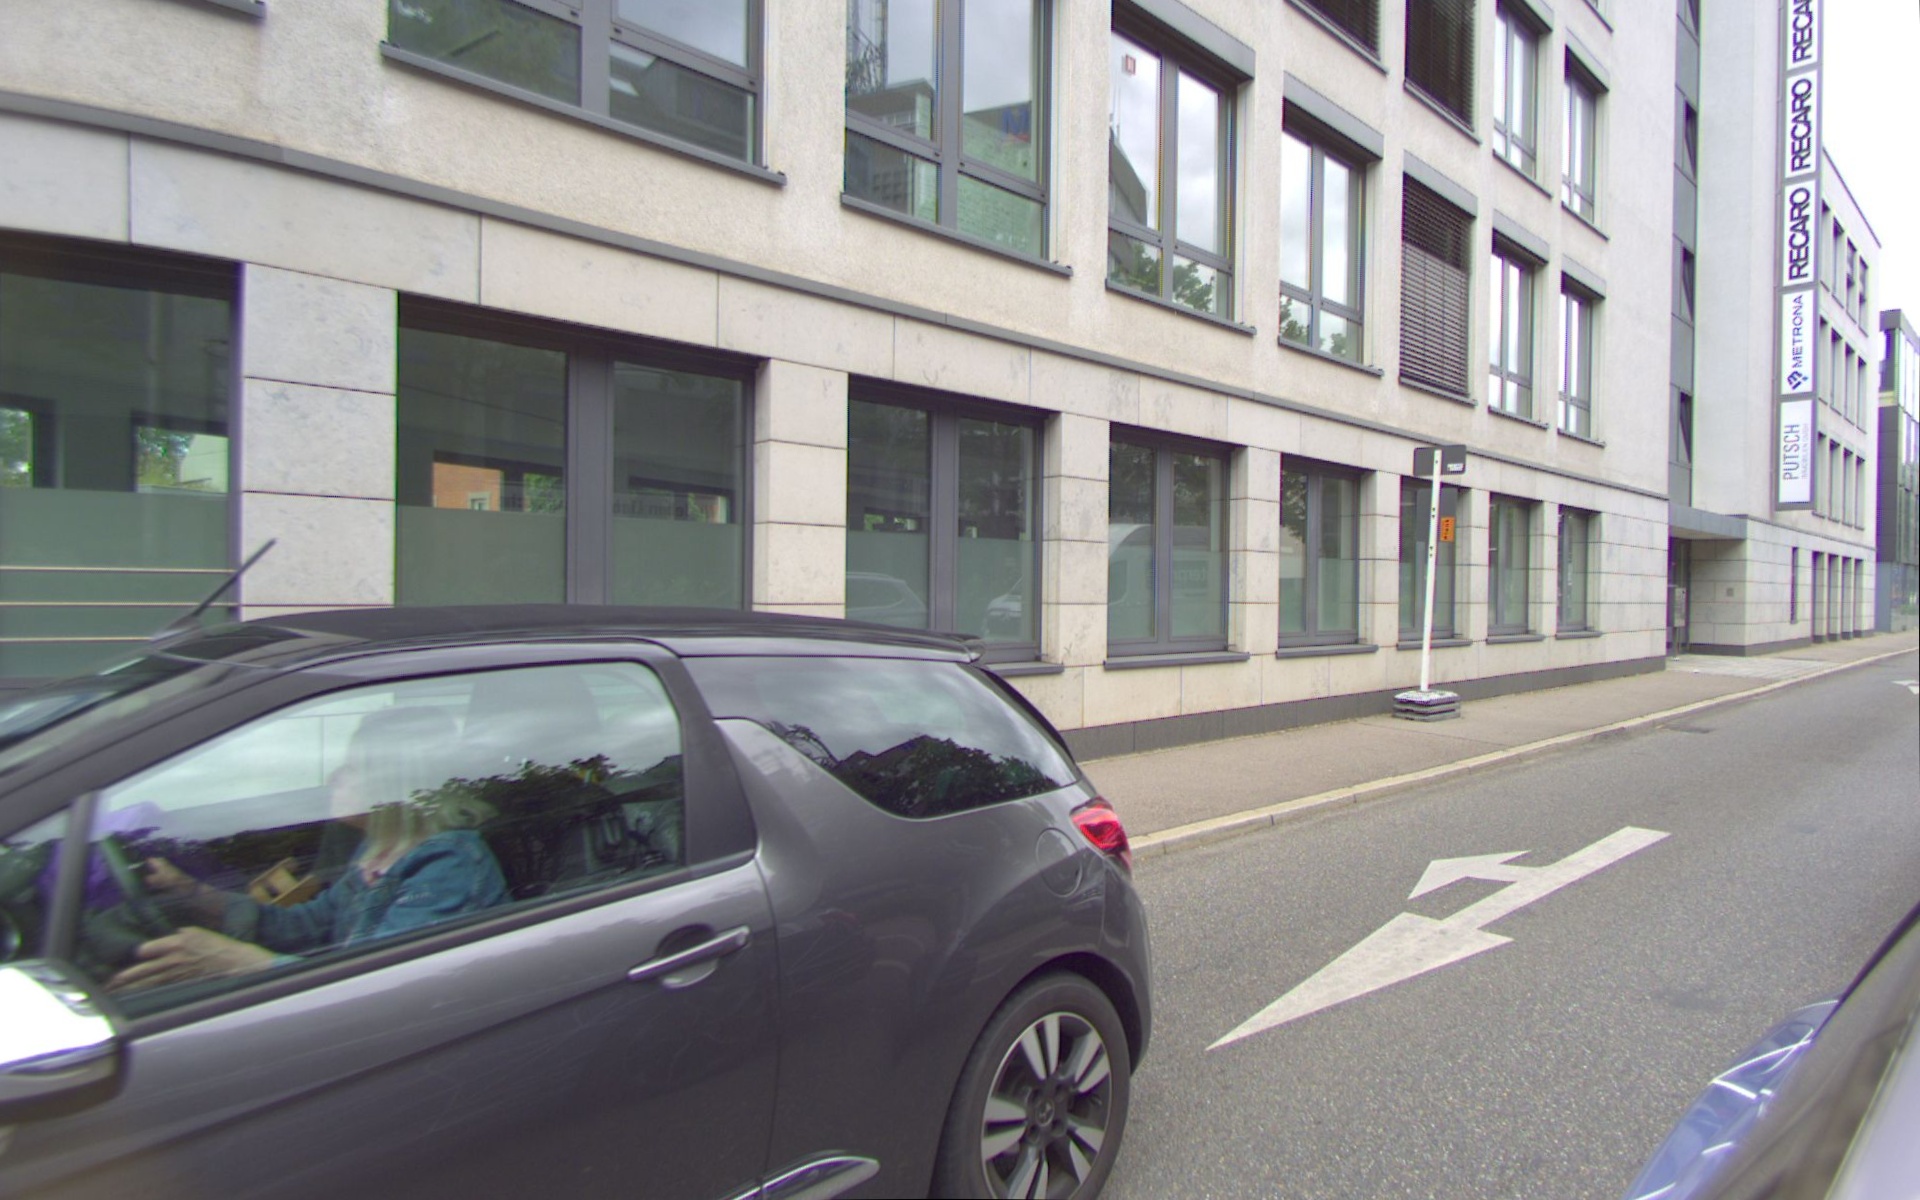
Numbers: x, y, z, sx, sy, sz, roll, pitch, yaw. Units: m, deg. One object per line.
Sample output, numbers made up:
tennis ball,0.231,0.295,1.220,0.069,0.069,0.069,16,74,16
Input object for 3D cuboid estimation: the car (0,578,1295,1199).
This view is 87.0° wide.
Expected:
car,-1.111,0.721,2.200,3.991,1.479,1.703,0,-1,-41
